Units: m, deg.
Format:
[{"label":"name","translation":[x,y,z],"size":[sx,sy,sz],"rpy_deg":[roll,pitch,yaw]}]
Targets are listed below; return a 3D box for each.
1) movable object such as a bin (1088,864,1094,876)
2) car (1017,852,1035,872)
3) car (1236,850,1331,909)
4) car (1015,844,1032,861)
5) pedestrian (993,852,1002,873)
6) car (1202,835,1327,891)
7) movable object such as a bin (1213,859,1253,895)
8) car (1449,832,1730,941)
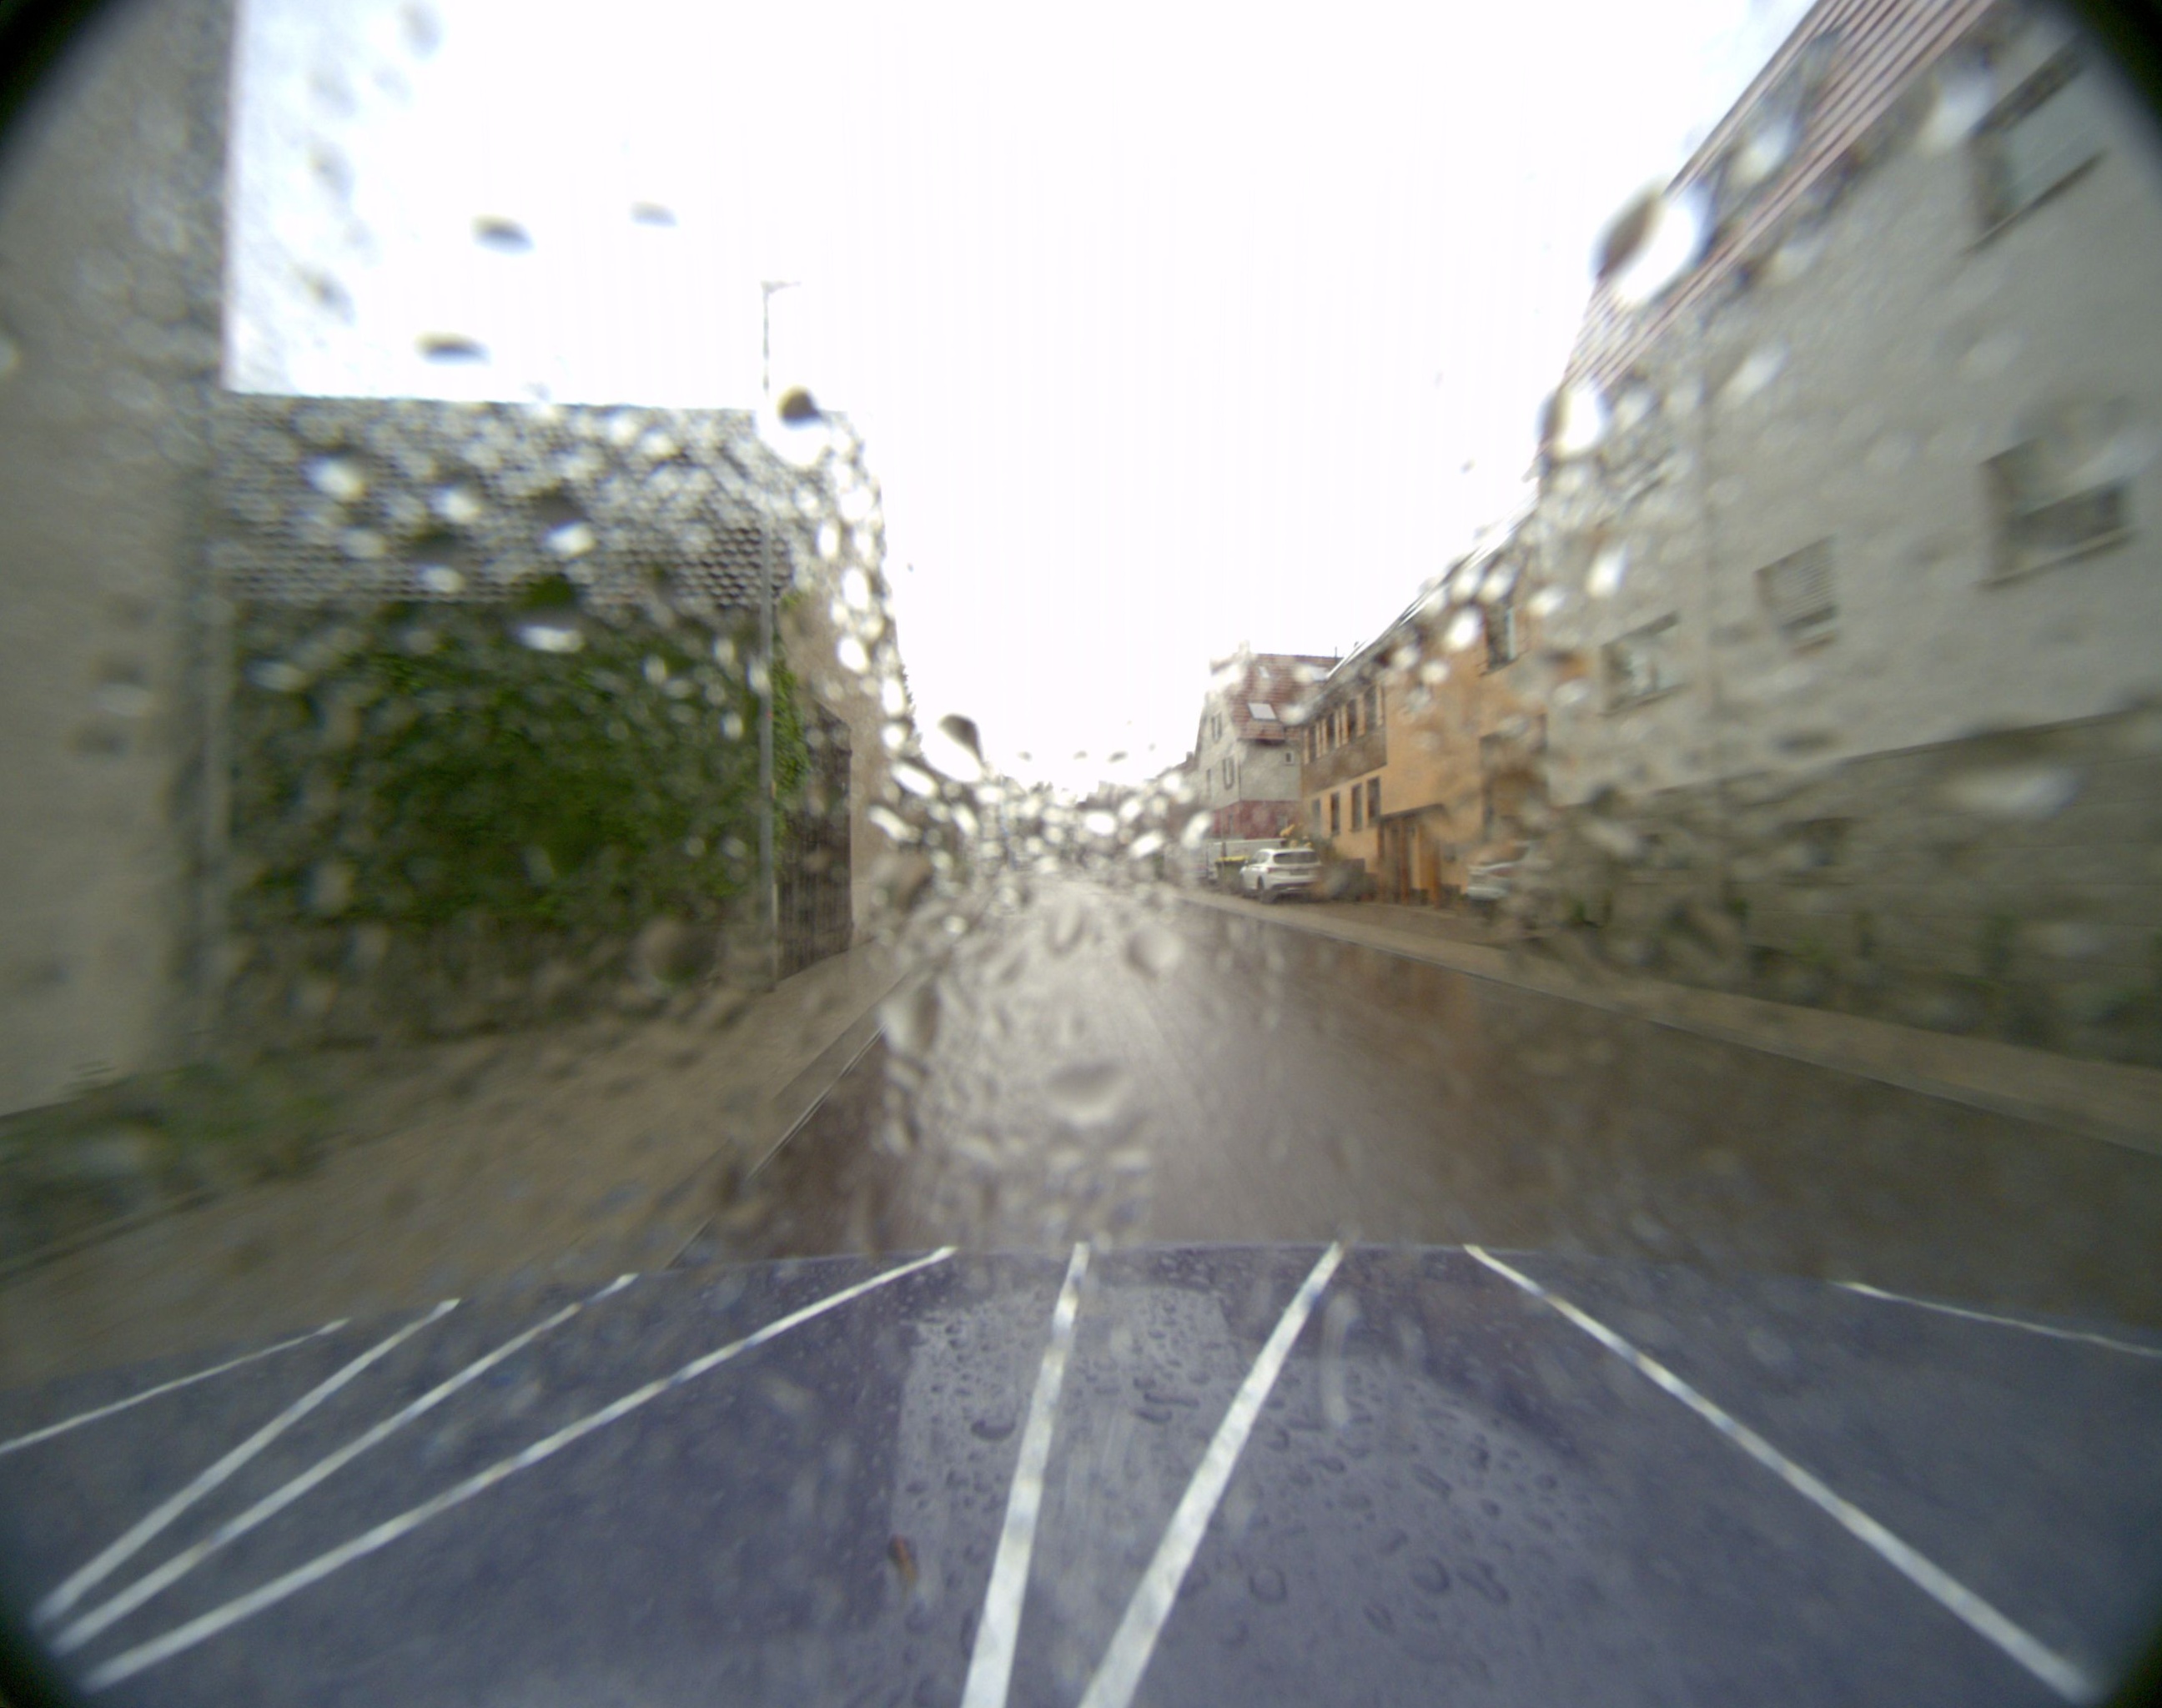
[{"label":"movable object such as a bin","translation":[0.892,1.368,66.247],"size":[0.522,1.020,0.414],"rpy_deg":[0,1,-3]},{"label":"car","translation":[-5.640,0.752,78.395],"size":[1.828,1.964,4.515],"rpy_deg":[0,1,-3]},{"label":"car","translation":[6.379,0.744,24.472],"size":[1.818,1.696,4.617],"rpy_deg":[-1,0,0]},{"label":"car","translation":[-7.179,-0.208,94.758],"size":[1.711,2.089,3.937],"rpy_deg":[-2,0,-8]},{"label":"pedestrian","translation":[-6.231,0.614,56.853],"size":[0.656,1.572,0.436],"rpy_deg":[1,1,-4]},{"label":"car","translation":[7.633,0.394,31.804],"size":[4.524,1.967,1.998],"rpy_deg":[-4,-1,-12]},{"label":"movable object such as a bin","translation":[5.864,0.880,29.384],"size":[1.289,1.360,0.996],"rpy_deg":[0,0,-7]},{"label":"car","translation":[9.445,0.568,14.346],"size":[3.998,1.660,1.878],"rpy_deg":[-4,0,-2]}]
